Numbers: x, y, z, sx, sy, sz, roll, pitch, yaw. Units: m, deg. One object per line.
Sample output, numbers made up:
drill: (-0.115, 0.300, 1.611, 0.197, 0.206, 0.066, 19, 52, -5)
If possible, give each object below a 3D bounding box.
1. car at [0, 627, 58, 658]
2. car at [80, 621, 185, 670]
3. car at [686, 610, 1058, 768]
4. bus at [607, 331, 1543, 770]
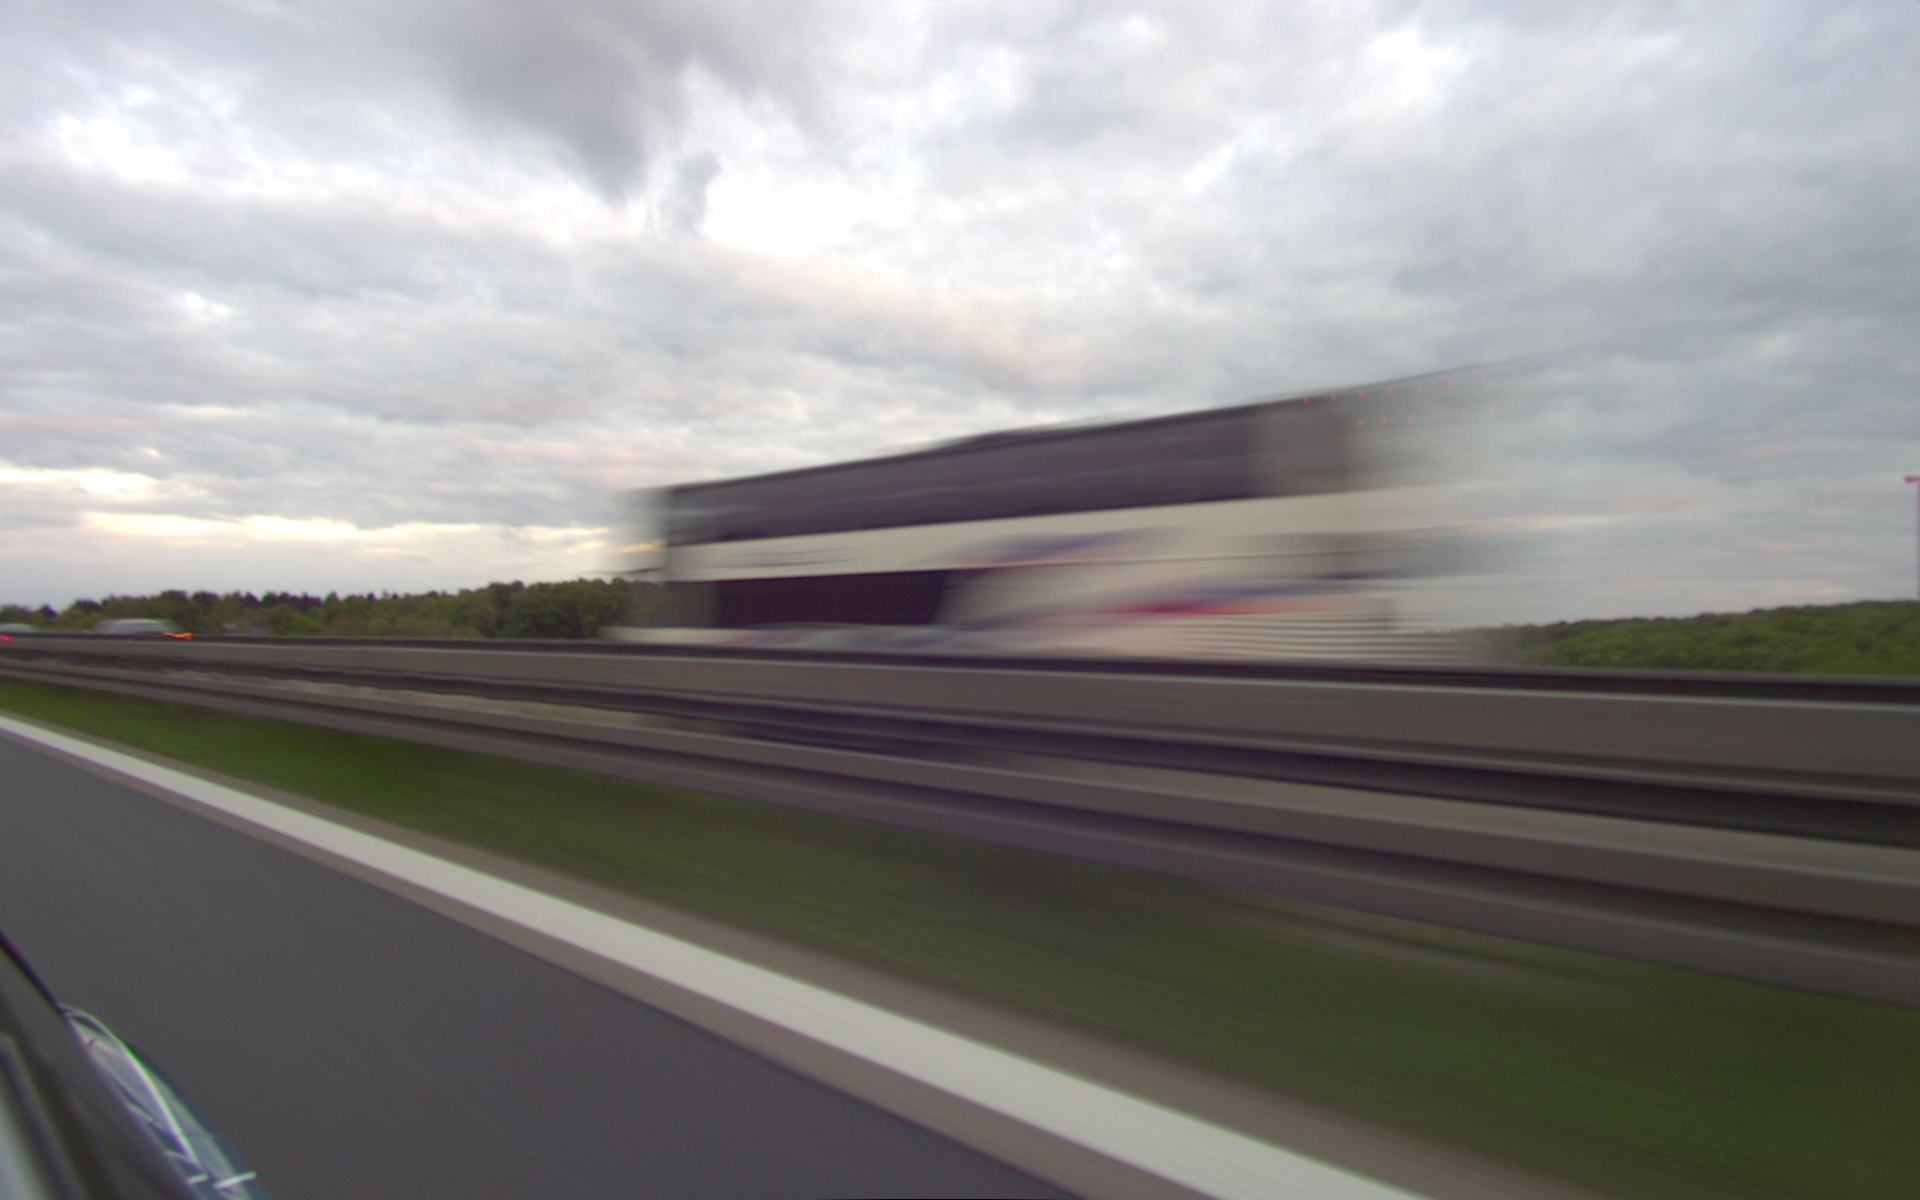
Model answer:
car: (-47.391, 2.141, 51.114, 4.723, 1.522, 1.897, -1, -3, 38)
car: (-28.084, 1.530, 34.306, 4.459, 1.567, 1.617, -1, -3, 35)
car: (-1.115, 0.899, 11.550, 4.164, 1.486, 1.832, -1, -3, 40)
bus: (0.145, -0.398, 15.384, 14.795, 4.107, 3.135, -1, 0, 39)
